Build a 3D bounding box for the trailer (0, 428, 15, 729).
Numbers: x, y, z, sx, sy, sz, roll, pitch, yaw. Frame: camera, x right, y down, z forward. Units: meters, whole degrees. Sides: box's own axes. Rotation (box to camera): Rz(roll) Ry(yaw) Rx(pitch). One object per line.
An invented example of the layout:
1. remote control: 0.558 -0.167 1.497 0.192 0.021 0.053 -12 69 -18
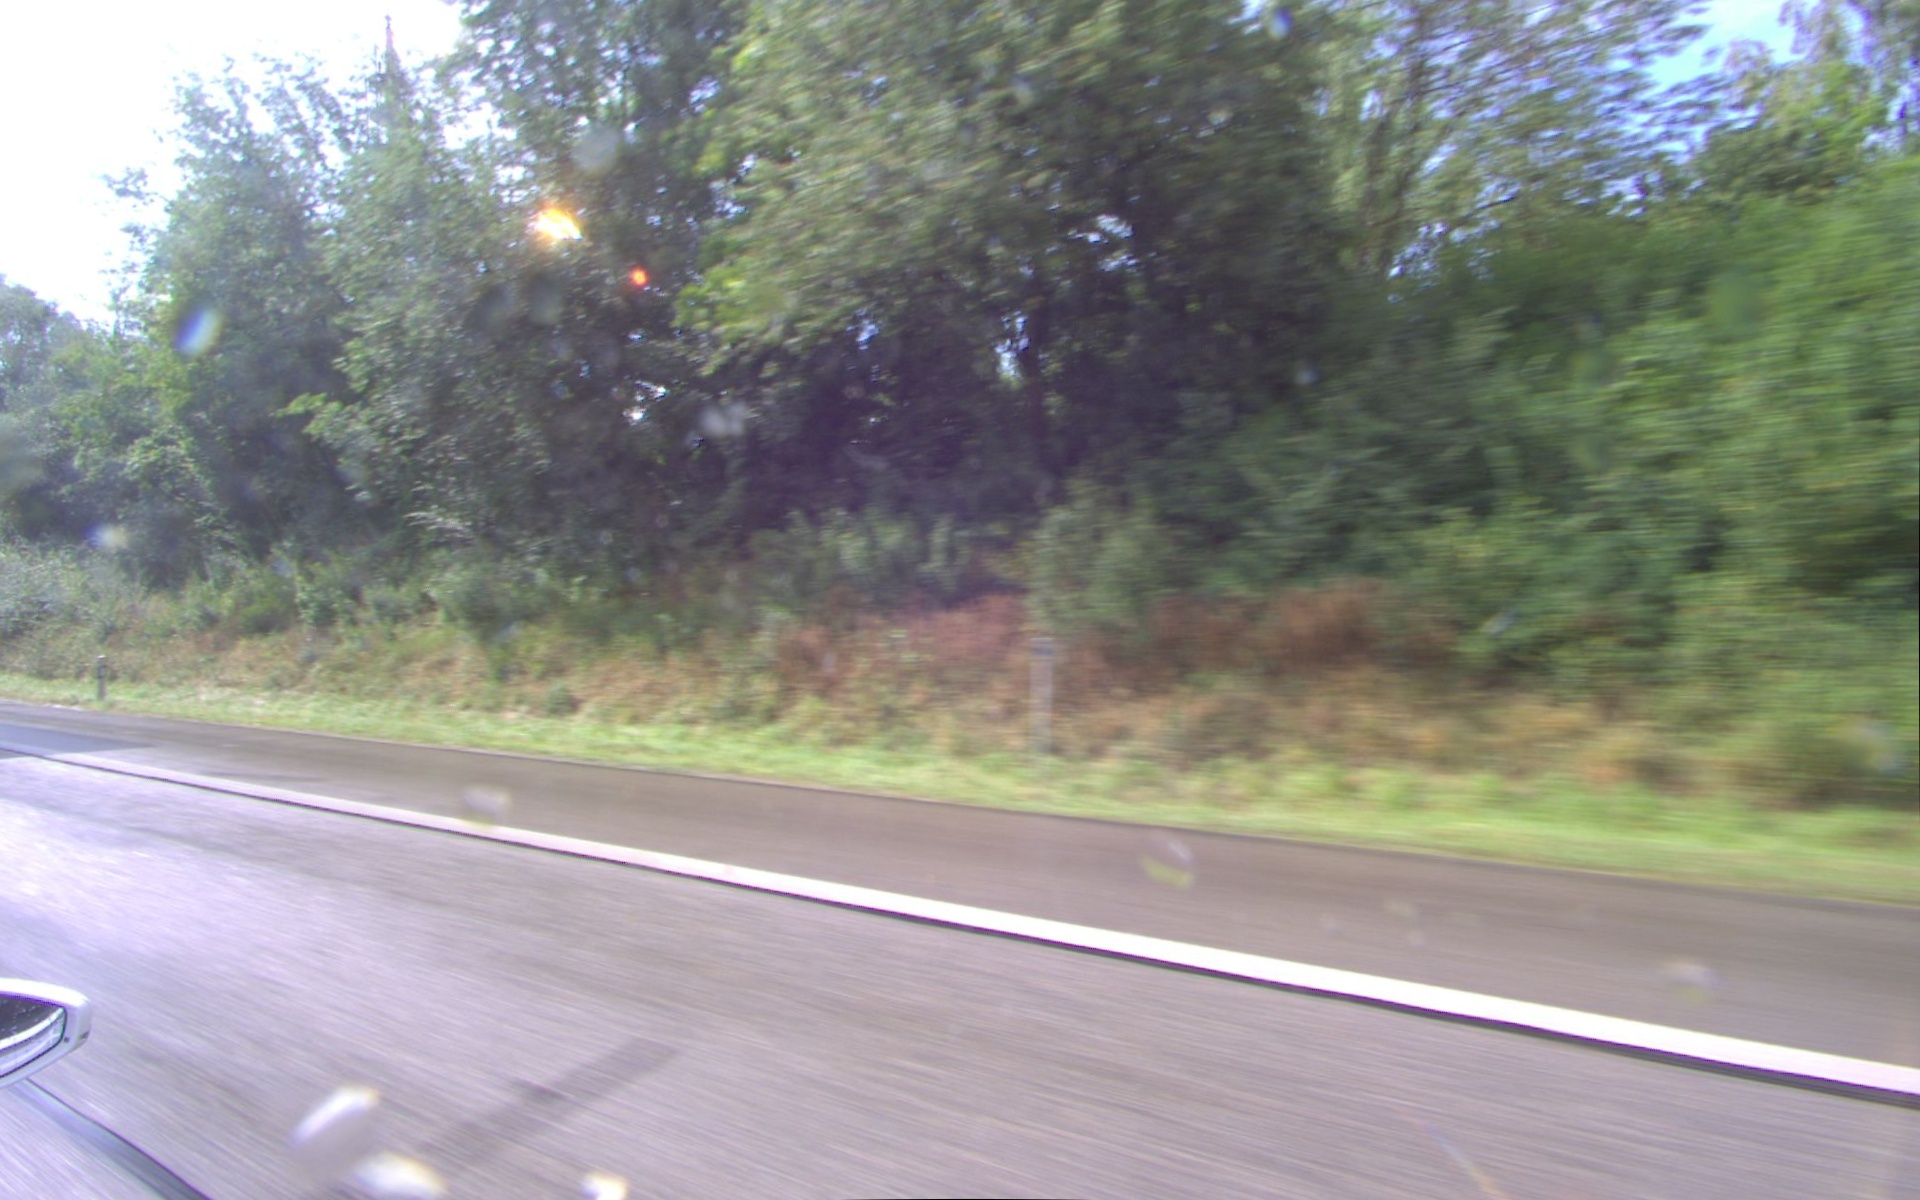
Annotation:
1. trailer: -20.489 -0.226 17.168 13.907 4.368 3.082 -1 -1 33
